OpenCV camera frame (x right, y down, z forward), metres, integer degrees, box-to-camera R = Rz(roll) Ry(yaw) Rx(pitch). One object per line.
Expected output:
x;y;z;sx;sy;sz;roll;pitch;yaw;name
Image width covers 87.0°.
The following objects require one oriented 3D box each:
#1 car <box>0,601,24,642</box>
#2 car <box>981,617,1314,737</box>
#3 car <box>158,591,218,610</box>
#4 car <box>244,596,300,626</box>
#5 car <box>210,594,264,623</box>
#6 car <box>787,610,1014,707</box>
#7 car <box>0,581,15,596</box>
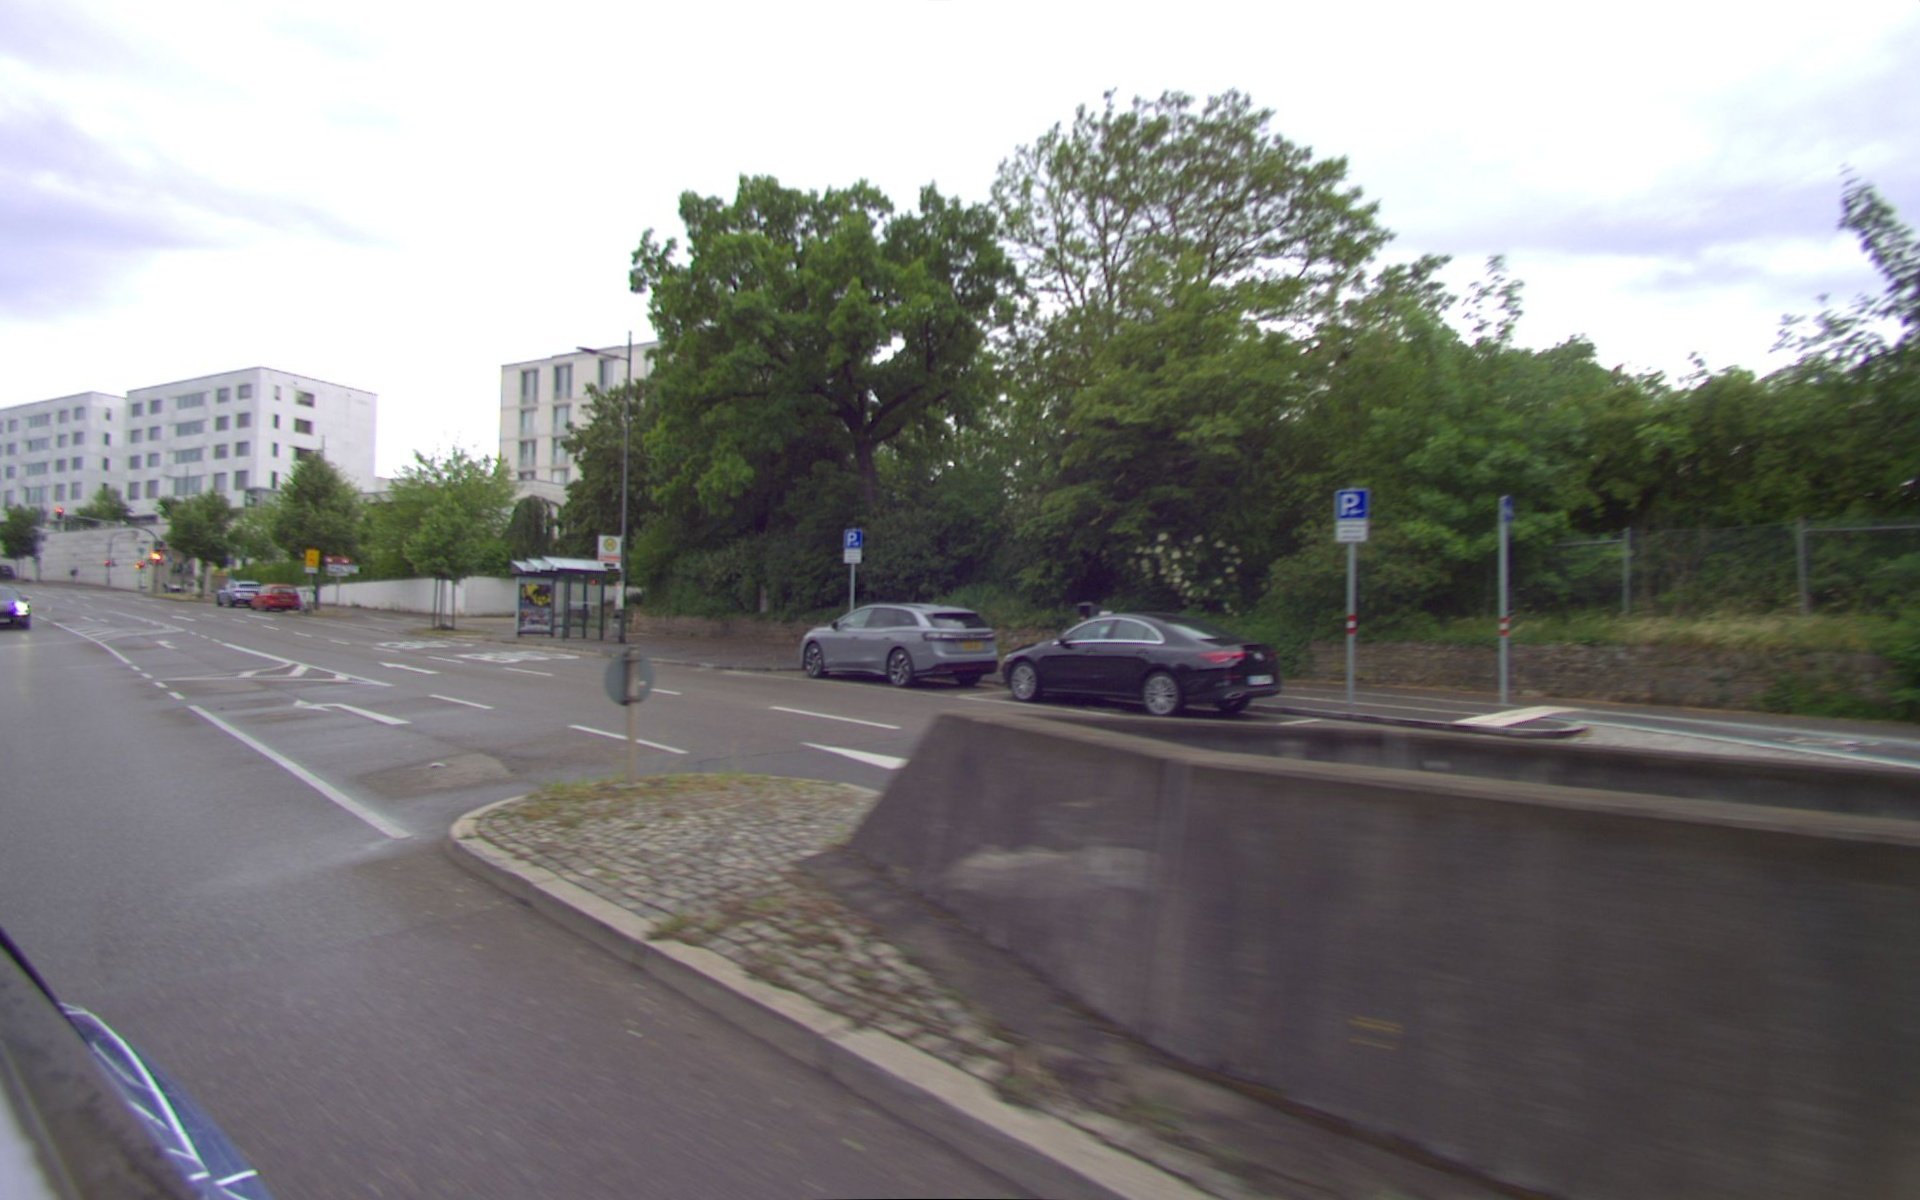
-39.529;0.844;41.237;4.001;1.605;1.805;0;0;43;car
2.611;1.011;15.162;1.882;1.425;4.790;0;0;-41;car
-77.208;0.079;101.231;1.988;1.664;4.312;3;-1;23;car
-40.343;0.640;59.312;4.216;1.599;1.647;2;-1;42;car
-45.654;0.494;63.854;4.883;1.666;1.745;2;1;42;car
-1.300;1.027;19.771;1.818;1.601;4.936;0;0;-41;car
-97.501;-1.235;102.528;2.680;1.470;1.668;3;-1;24;car
